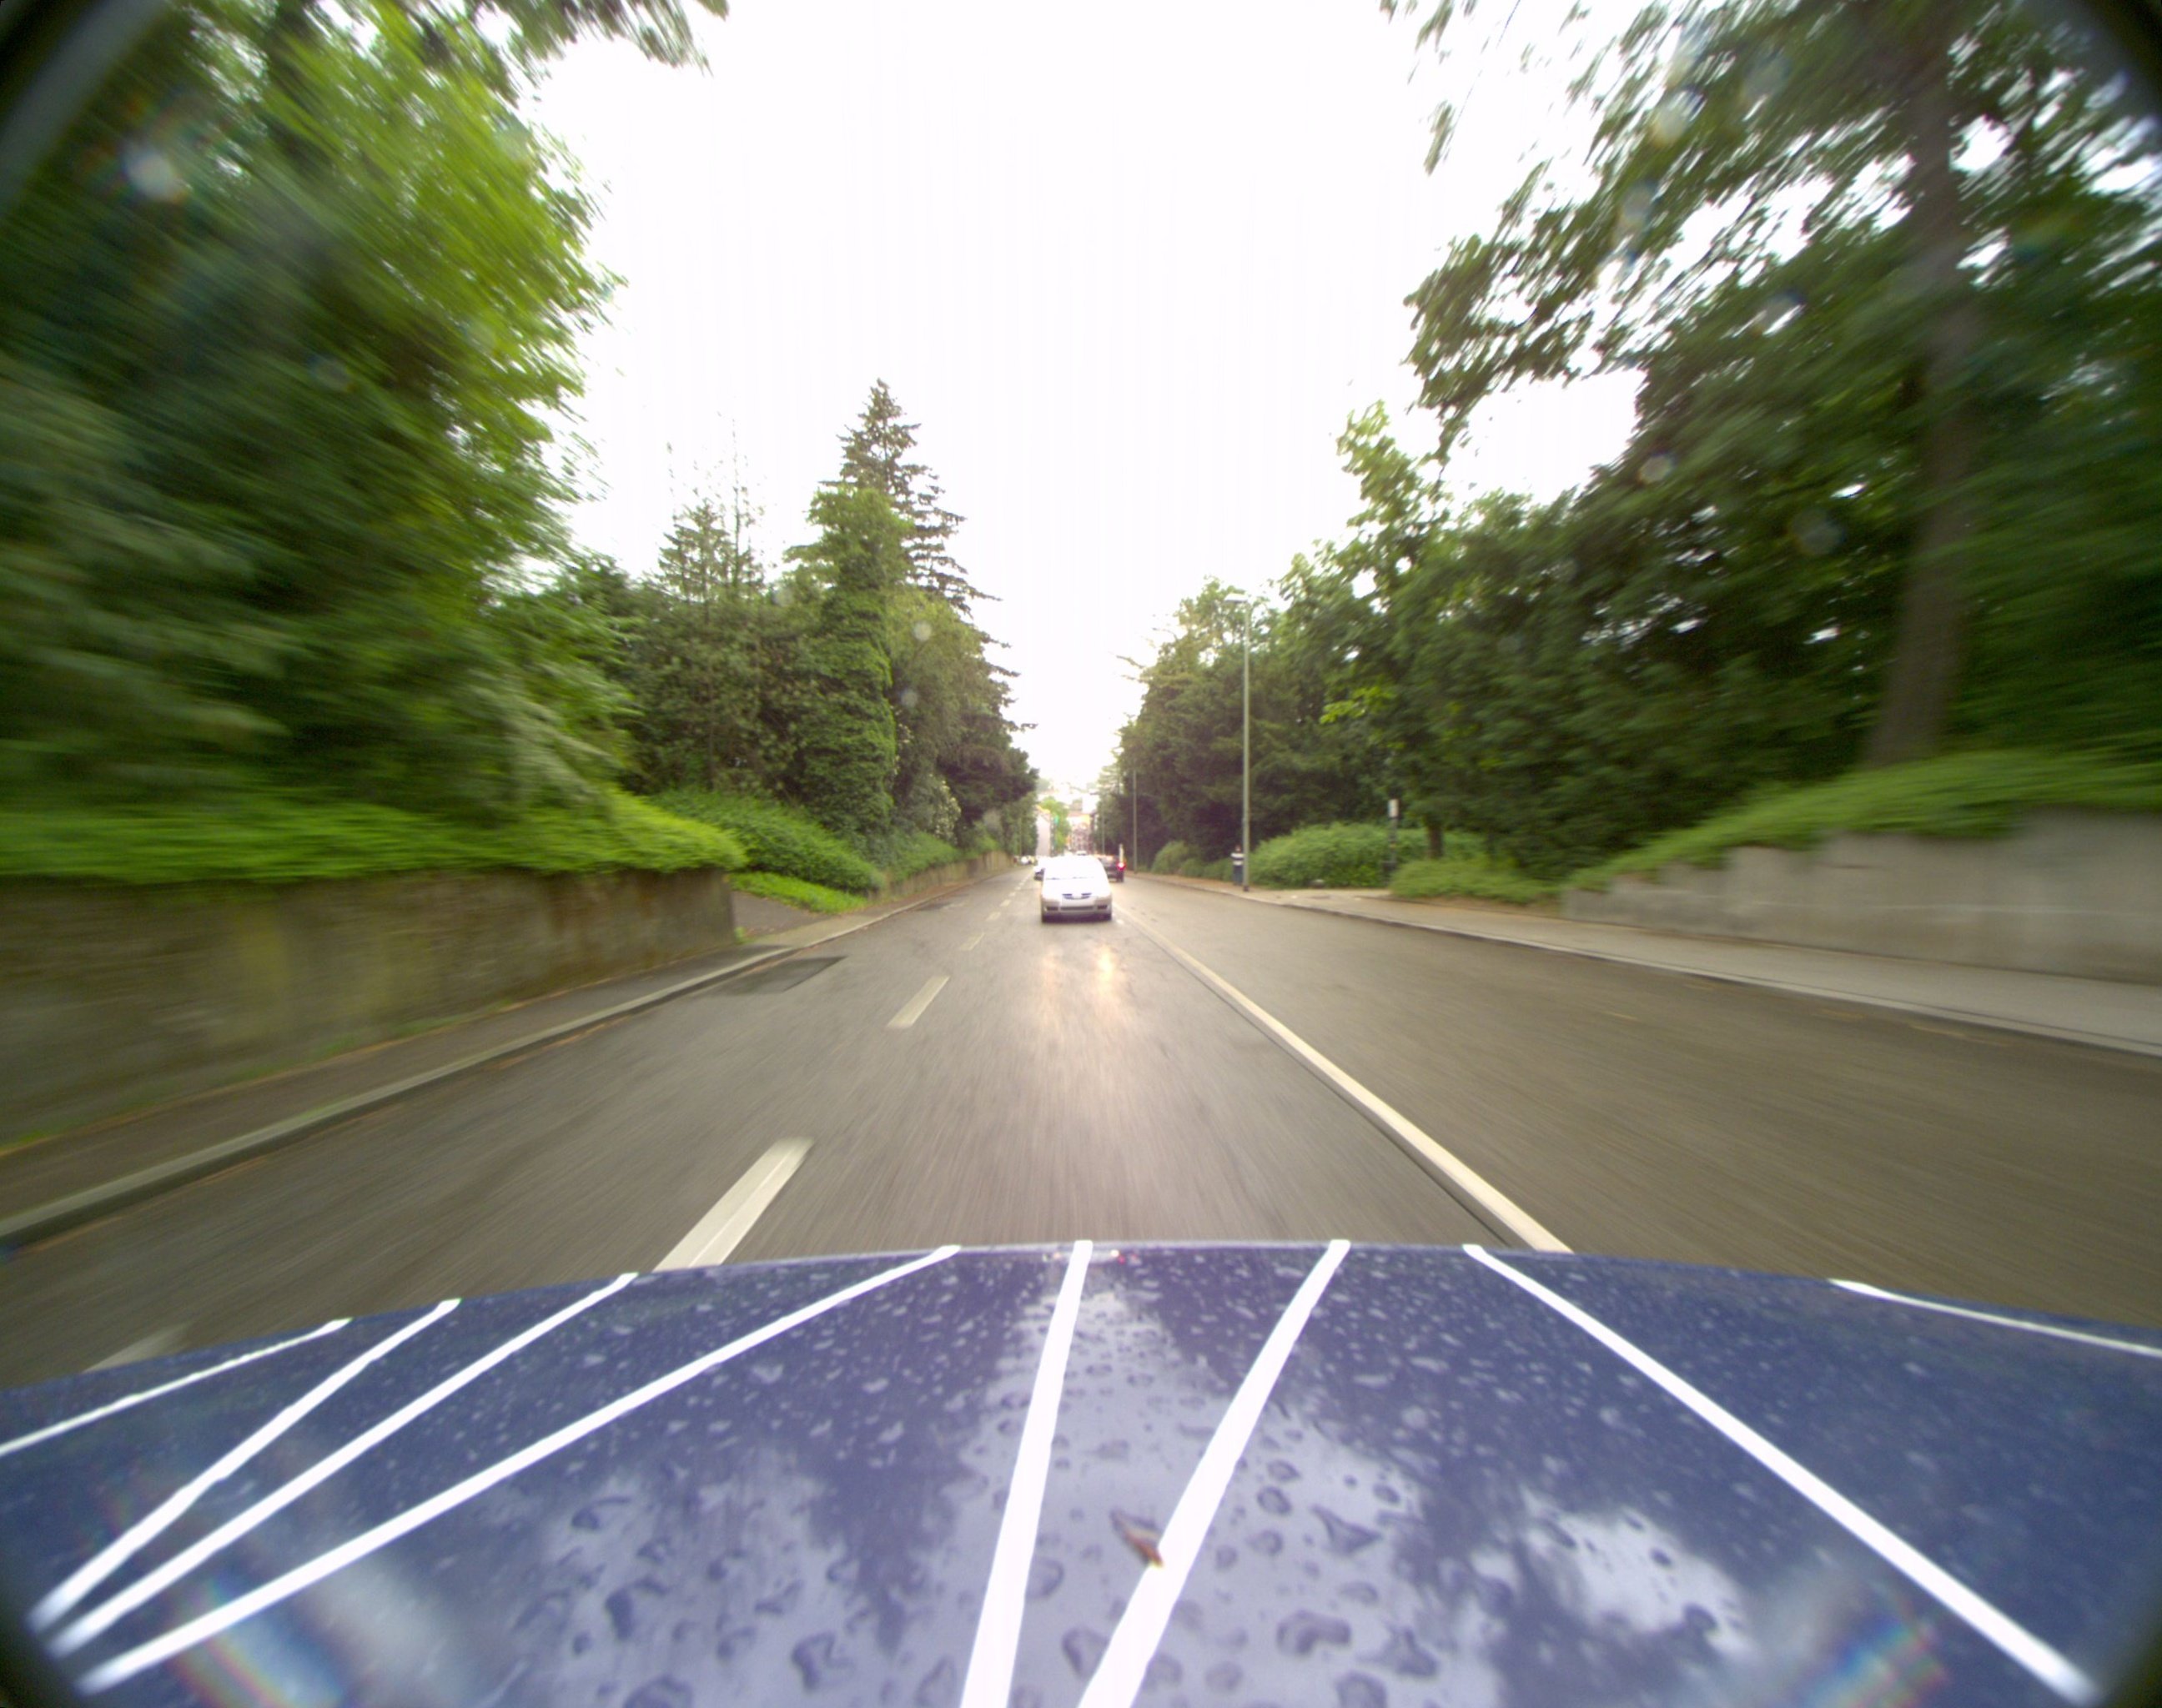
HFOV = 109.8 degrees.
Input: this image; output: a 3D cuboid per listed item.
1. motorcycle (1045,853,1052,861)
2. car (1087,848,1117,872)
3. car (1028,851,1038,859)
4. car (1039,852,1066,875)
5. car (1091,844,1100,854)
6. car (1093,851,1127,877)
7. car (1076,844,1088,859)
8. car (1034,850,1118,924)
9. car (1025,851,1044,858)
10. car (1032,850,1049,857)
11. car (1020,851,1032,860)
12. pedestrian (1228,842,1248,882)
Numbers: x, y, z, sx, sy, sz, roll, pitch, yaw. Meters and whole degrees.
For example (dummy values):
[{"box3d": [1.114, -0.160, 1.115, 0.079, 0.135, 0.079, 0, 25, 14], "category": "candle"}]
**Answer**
[{"box3d": [-4.713, 0.422, 111.839, 0.779, 1.120, 2.299, -2, 1, 2], "category": "motorcycle"}, {"box3d": [1.507, 0.432, 57.045, 1.836, 1.701, 3.998, -2, 1, -4], "category": "car"}, {"box3d": [-9.644, 0.203, 152.420, 1.567, 1.458, 3.898, 2, 0, 1], "category": "car"}, {"box3d": [-2.142, 0.707, 58.108, 1.999, 1.603, 3.966, -1, 0, -1], "category": "car"}, {"box3d": [3.804, -1.289, 201.454, 2.122, 2.536, 5.443, 1, 0, 0], "category": "car"}, {"box3d": [1.657, 0.561, 45.154, 1.680, 1.487, 3.459, -2, 0, -3], "category": "car"}, {"box3d": [0.121, -0.399, 137.158, 2.122, 2.536, 5.443, 1, 0, 0], "category": "car"}, {"box3d": [-0.010, 0.737, 19.202, 1.826, 1.603, 4.189, -2, 0, 3], "category": "car"}, {"box3d": [-10.659, 0.077, 175.456, 4.193, 1.408, 1.803, 1, 1, 0], "category": "car"}, {"box3d": [-10.465, -0.030, 194.557, 4.193, 1.565, 1.803, 2, 1, 0], "category": "car"}, {"box3d": [-9.696, 0.286, 133.856, 1.743, 1.469, 4.740, 1, 0, 1], "category": "car"}, {"box3d": [6.504, 0.328, 31.515, 0.707, 1.634, 0.714, -1, 1, 4], "category": "pedestrian"}]
